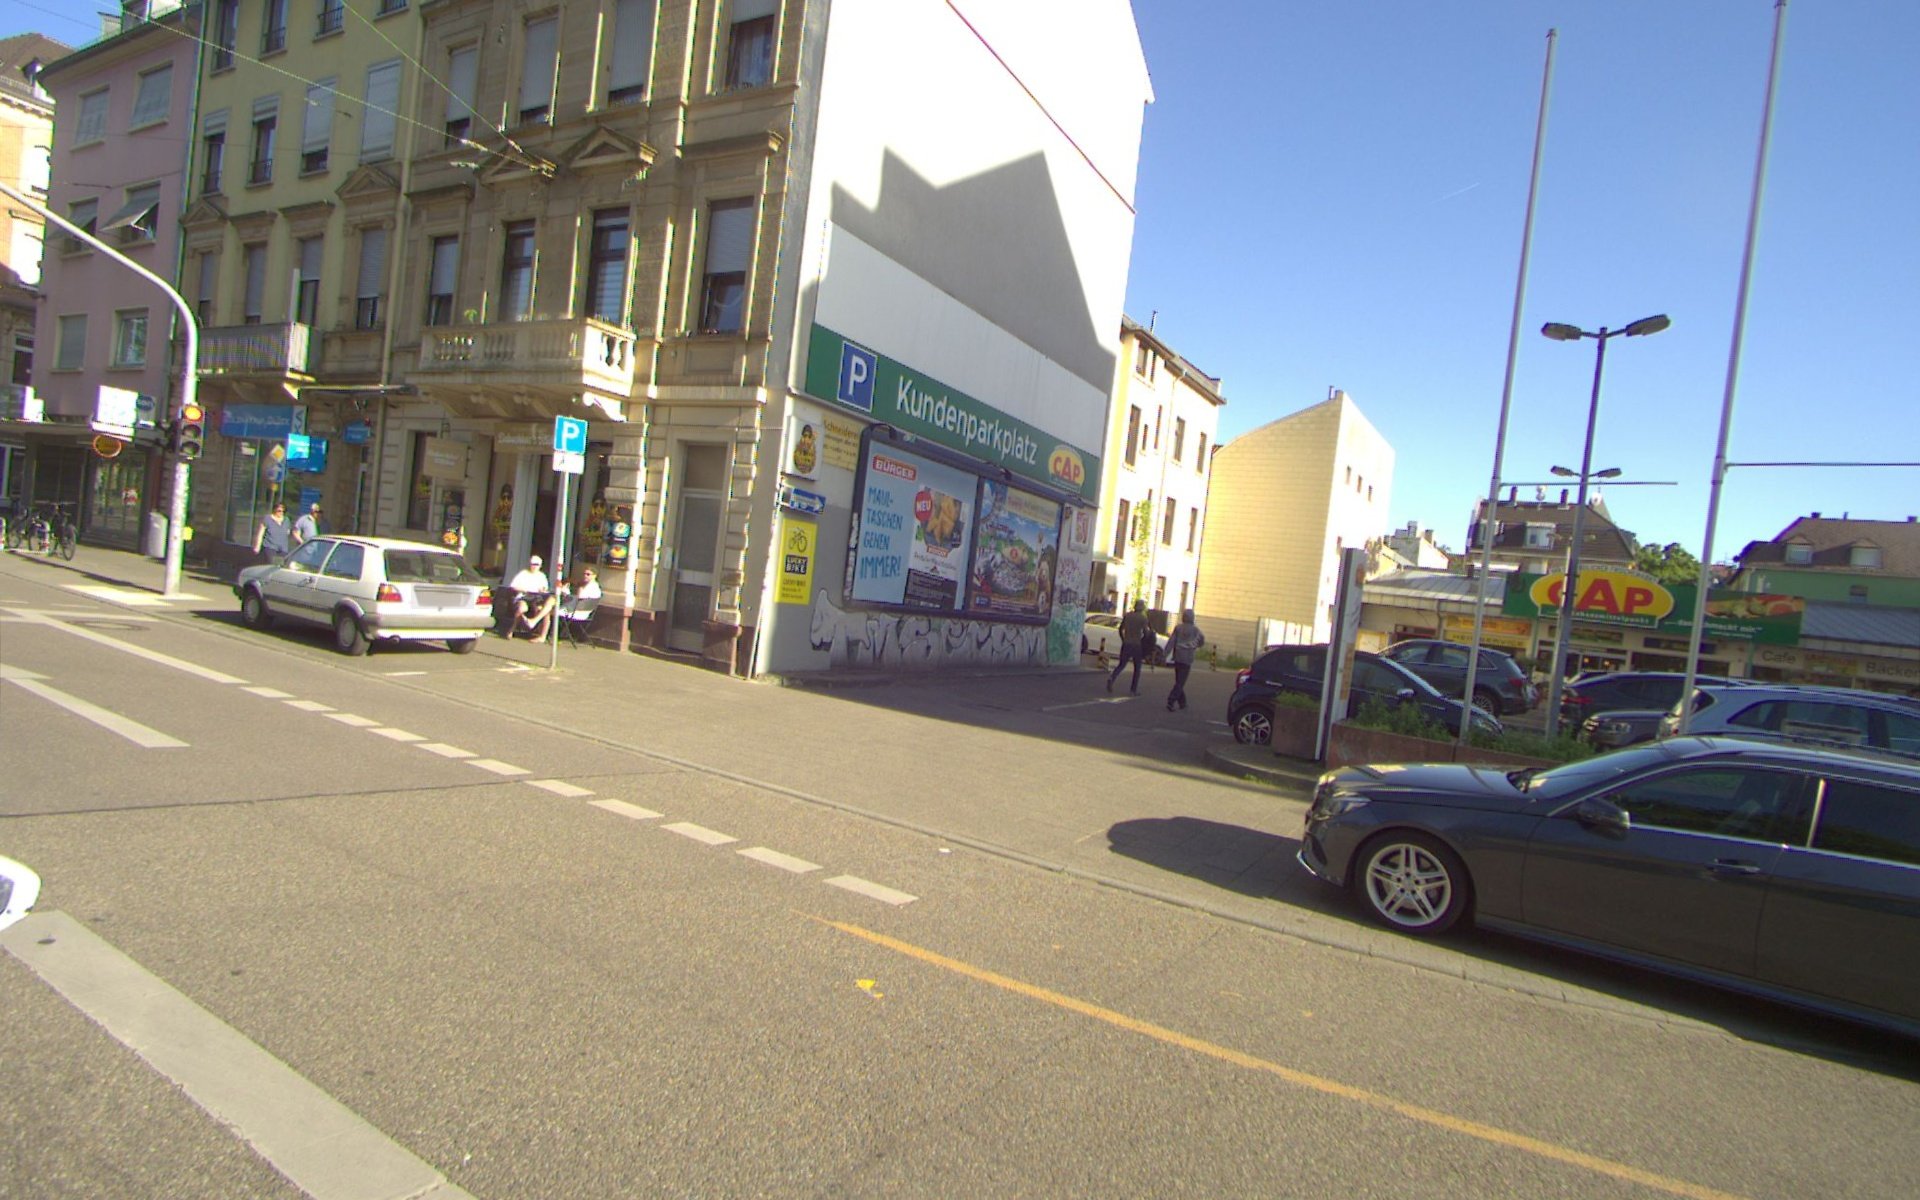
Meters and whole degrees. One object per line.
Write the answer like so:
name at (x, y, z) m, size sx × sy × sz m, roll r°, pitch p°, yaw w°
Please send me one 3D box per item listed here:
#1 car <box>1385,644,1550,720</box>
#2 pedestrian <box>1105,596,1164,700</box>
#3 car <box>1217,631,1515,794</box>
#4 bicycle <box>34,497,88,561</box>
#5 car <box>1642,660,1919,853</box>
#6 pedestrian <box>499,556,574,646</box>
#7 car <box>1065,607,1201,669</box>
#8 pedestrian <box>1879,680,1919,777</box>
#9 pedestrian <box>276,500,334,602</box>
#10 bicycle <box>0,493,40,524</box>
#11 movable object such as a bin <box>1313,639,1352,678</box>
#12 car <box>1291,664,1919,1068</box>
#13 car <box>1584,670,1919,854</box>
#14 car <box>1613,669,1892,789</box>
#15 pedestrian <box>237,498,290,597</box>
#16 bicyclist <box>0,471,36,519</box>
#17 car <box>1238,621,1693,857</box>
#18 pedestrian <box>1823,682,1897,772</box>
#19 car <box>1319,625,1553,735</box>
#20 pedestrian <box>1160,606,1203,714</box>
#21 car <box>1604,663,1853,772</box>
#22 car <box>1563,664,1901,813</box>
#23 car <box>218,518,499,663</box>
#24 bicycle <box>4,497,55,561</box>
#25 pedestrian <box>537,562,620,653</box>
car at (14.499, 2.309, 28.788) m, size 3.933 × 1.538 × 1.723 m, roll 8°, pitch 1°, yaw 32°
pedestrian at (3.308, 0.906, 19.087) m, size 0.734 × 1.864 × 0.762 m, roll 7°, pitch 1°, yaw 23°
car at (5.349, 1.398, 13.351) m, size 3.336 × 1.504 × 1.561 m, roll 8°, pitch 1°, yaw 28°
bicycle at (-18.654, -1.480, 20.871) m, size 1.731 × 1.173 × 0.448 m, roll 8°, pitch 1°, yaw 38°
car at (10.075, 1.771, 11.047) m, size 3.930 × 1.665 × 1.748 m, roll 7°, pitch 0°, yaw 28°
pedestrian at (-6.544, 0.017, 15.563) m, size 0.598 × 1.299 × 0.797 m, roll 8°, pitch 4°, yaw 29°
car at (5.686, 1.252, 33.165) m, size 3.933 × 1.482 × 1.756 m, roll 7°, pitch 1°, yaw 32°
pedestrian at (20.998, 2.826, 22.050) m, size 0.908 × 2.039 × 0.817 m, roll 8°, pitch 1°, yaw 32°
pedestrian at (-12.233, -0.907, 18.791) m, size 0.522 × 1.831 × 0.673 m, roll 8°, pitch 4°, yaw 31°
bicycle at (-32.740, -3.178, 34.874) m, size 0.644 × 0.914 × 1.333 m, roll 7°, pitch 0°, yaw -16°
movable object such as a bin at (16.490, 2.576, 44.490) m, size 1.258 × 1.526 × 1.174 m, roll 8°, pitch 1°, yaw 31°
car at (4.669, 1.493, 6.069) m, size 4.656 × 1.507 × 1.832 m, roll 8°, pitch 3°, yaw 32°
car at (10.865, 2.085, 13.529) m, size 3.931 × 1.715 × 1.746 m, roll 7°, pitch 2°, yaw 29°
car at (14.957, 2.375, 19.283) m, size 3.872 × 1.564 × 1.543 m, roll 7°, pitch 1°, yaw 31°
pedestrian at (-12.689, -0.946, 18.323) m, size 0.382 × 1.730 × 0.550 m, roll 8°, pitch 2°, yaw 34°
bicyclist at (-32.678, -3.619, 34.843) m, size 0.540 × 1.521 × 0.957 m, roll 7°, pitch 1°, yaw -17°
car at (5.148, 1.298, 10.644) m, size 3.835 × 1.666 × 1.652 m, roll 7°, pitch 2°, yaw 28°
pedestrian at (19.958, 2.798, 22.329) m, size 0.908 × 1.818 × 0.817 m, roll 8°, pitch 1°, yaw 32°
car at (10.393, 1.690, 22.061) m, size 4.309 × 1.687 × 1.756 m, roll 7°, pitch 1°, yaw 32°
pedestrian at (3.829, 1.018, 17.406) m, size 0.503 × 1.777 × 0.762 m, roll 7°, pitch 1°, yaw 12°
car at (16.159, 2.418, 21.434) m, size 3.872 × 1.601 × 1.658 m, roll 8°, pitch 1°, yaw 31°
car at (11.849, 2.060, 15.801) m, size 3.871 × 1.564 × 1.544 m, roll 7°, pitch 1°, yaw 30°
car at (-8.115, -0.188, 13.470) m, size 3.937 × 1.435 × 1.562 m, roll 8°, pitch 4°, yaw 32°
bicycle at (-18.924, -1.457, 20.448) m, size 1.782 × 1.155 × 0.414 m, roll 8°, pitch 1°, yaw 38°
pedestrian at (-5.854, 0.114, 15.464) m, size 0.644 × 1.299 × 0.902 m, roll 8°, pitch 3°, yaw 27°
